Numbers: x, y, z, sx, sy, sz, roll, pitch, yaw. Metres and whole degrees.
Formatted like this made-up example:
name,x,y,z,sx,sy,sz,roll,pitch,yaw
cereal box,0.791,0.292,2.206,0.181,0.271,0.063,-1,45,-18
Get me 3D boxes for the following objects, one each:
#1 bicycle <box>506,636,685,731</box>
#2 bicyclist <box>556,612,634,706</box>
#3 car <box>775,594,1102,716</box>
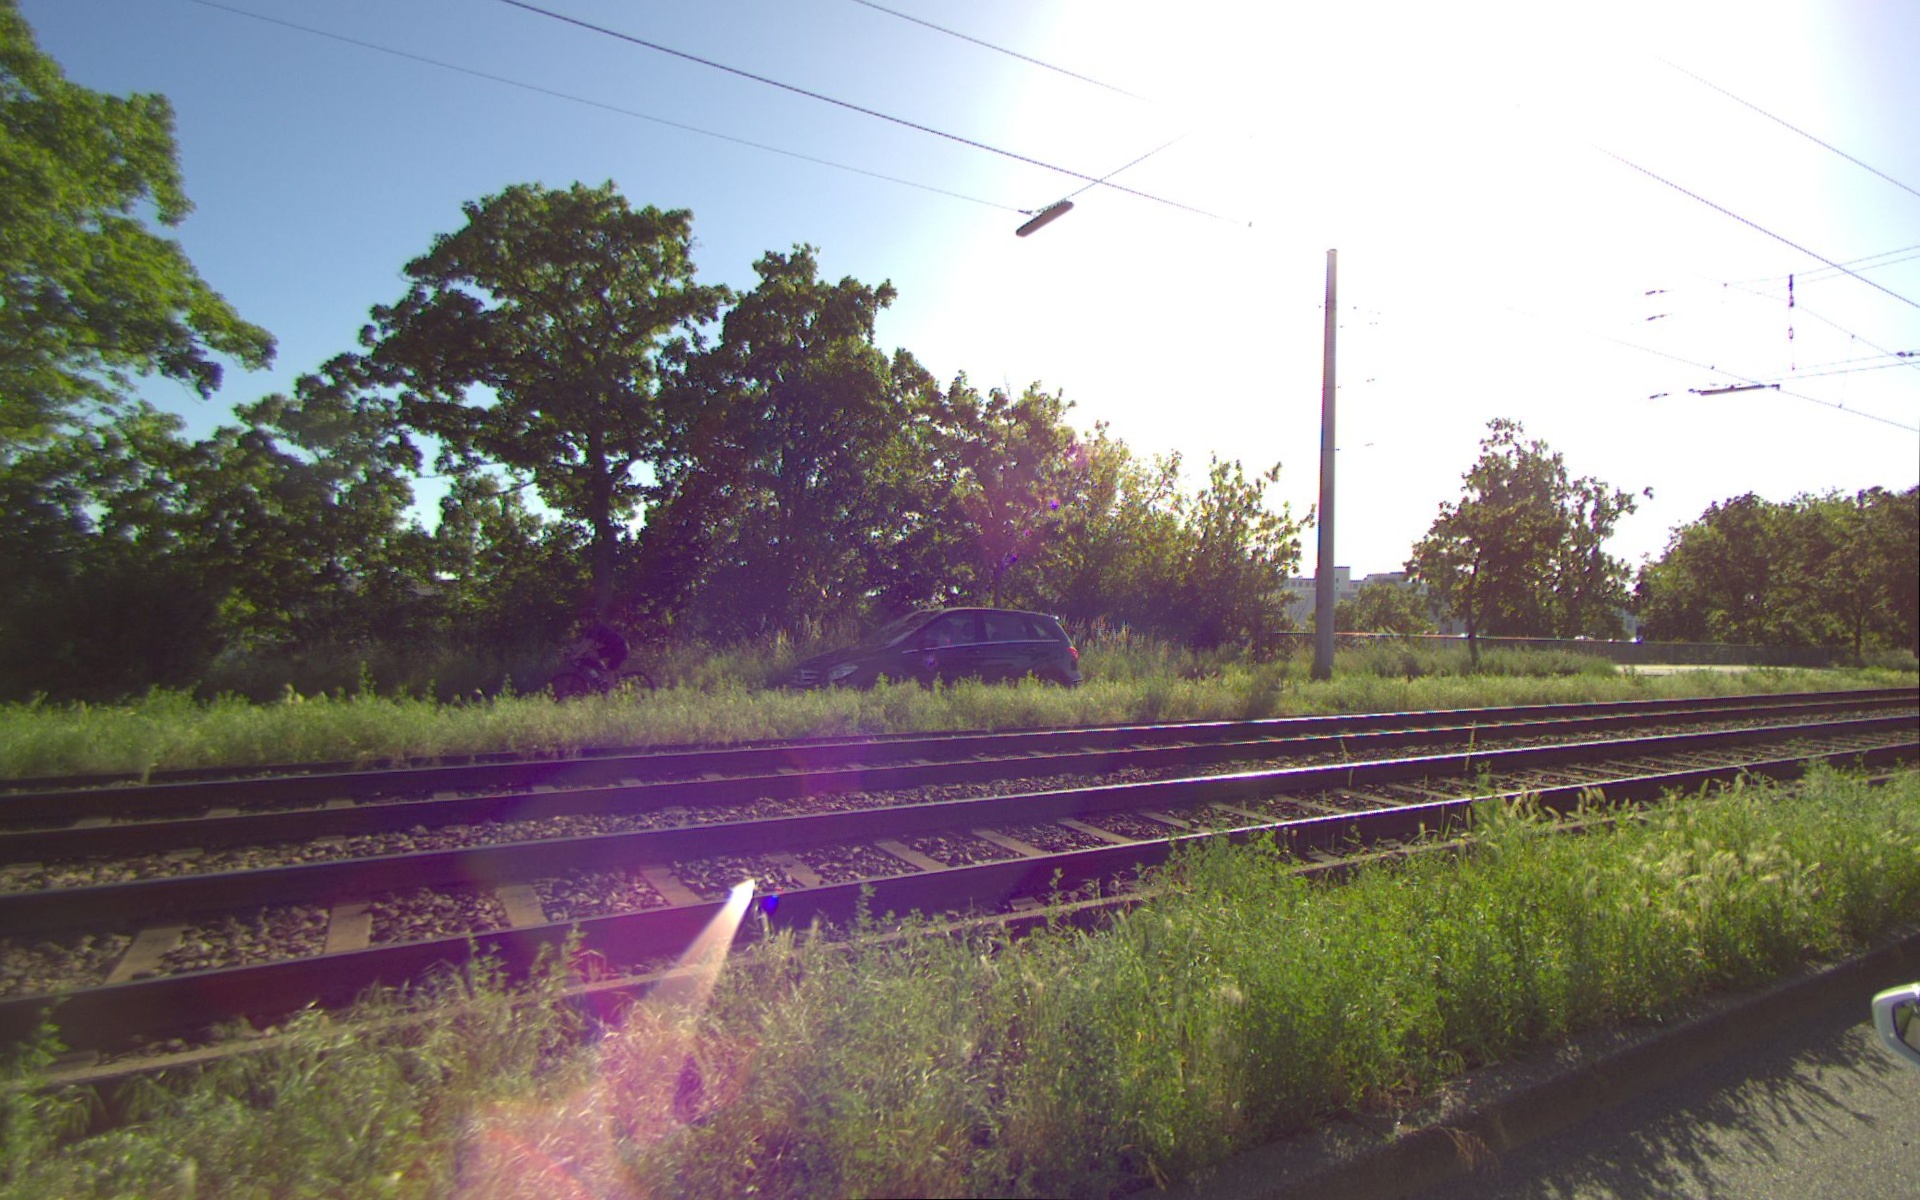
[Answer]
name,x,y,z,sx,sy,sz,roll,pitch,yaw
bicycle,-5.336,1.192,14.794,2.398,1.278,0.587,1,1,-30
bicyclist,-5.370,0.848,14.772,0.975,1.328,0.580,1,1,-30
car,-0.259,0.715,14.395,4.353,1.509,1.801,1,1,-29
